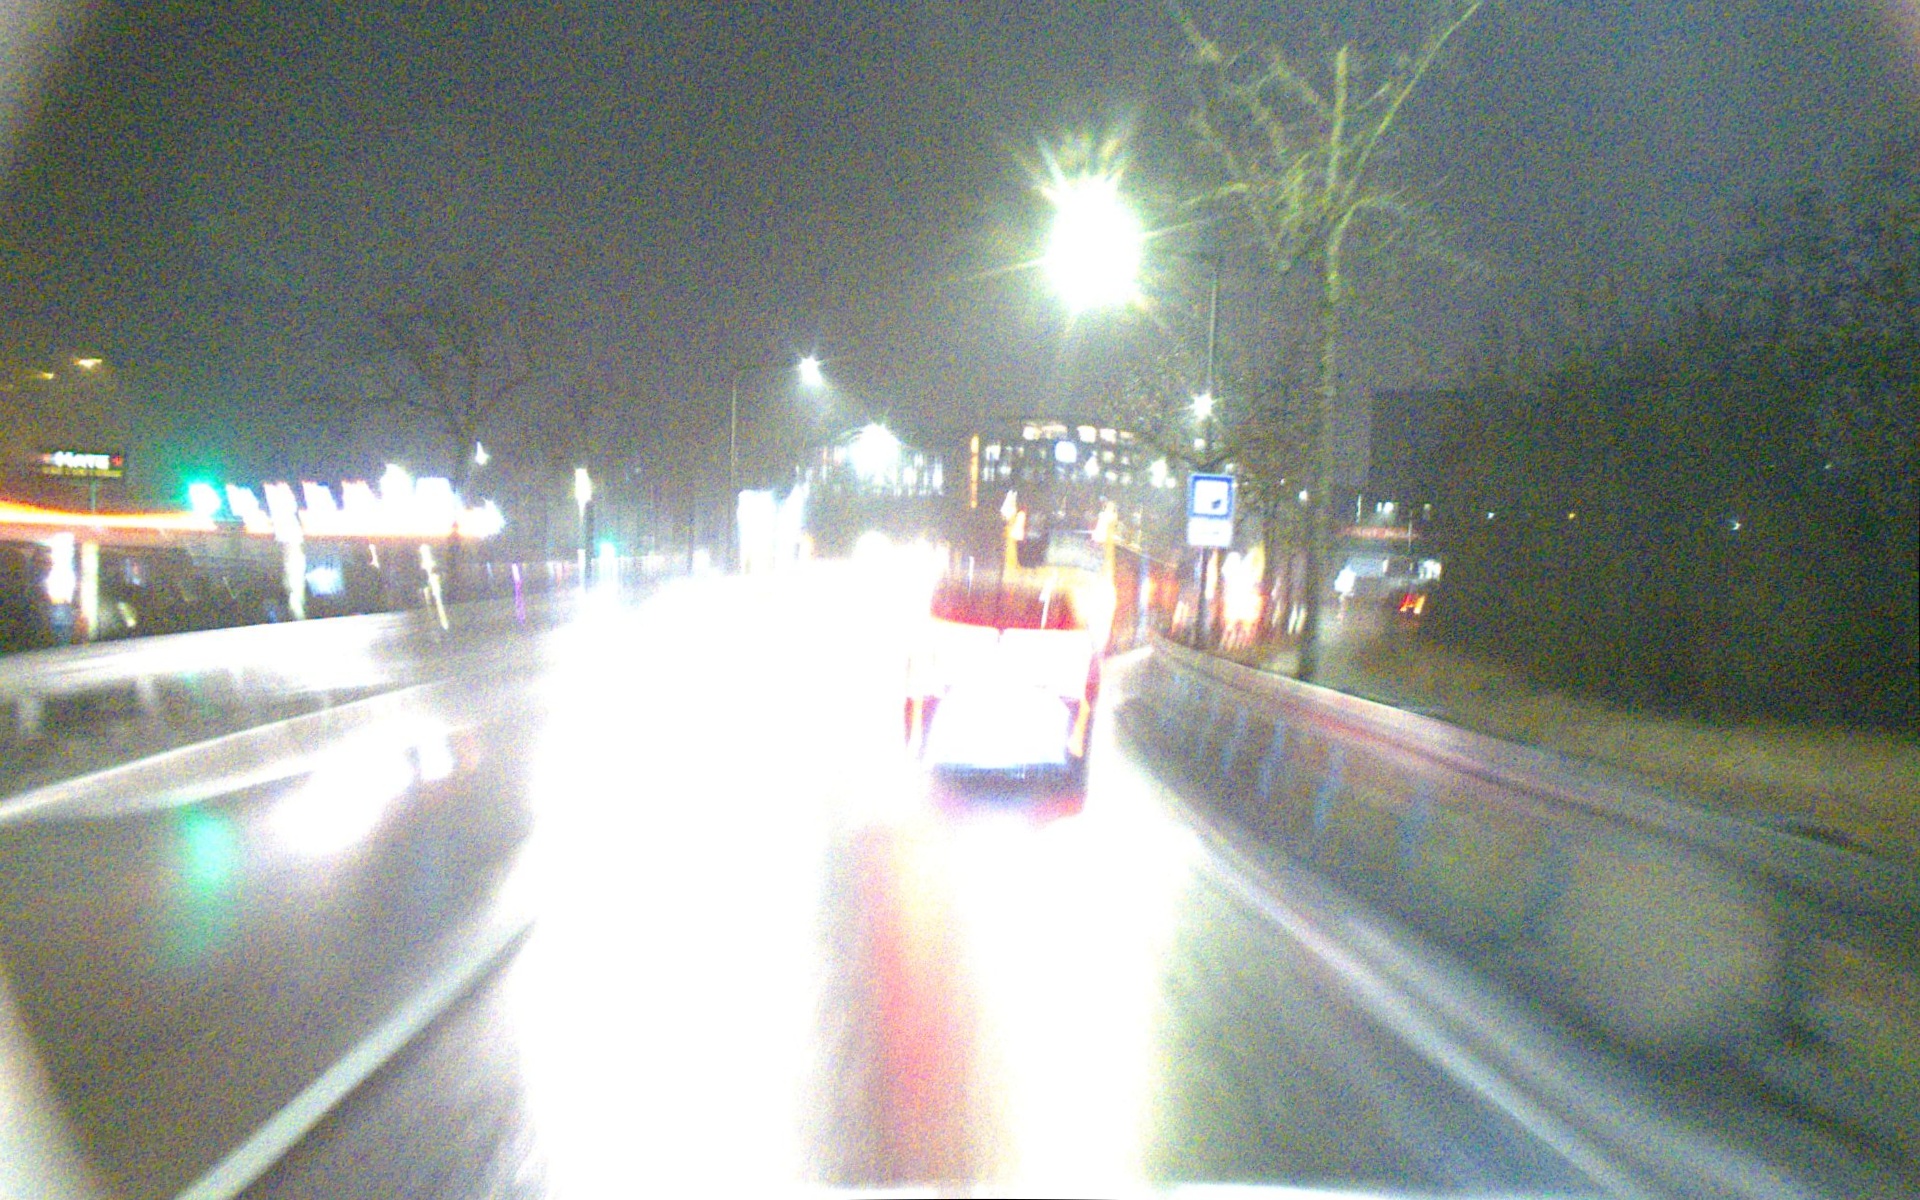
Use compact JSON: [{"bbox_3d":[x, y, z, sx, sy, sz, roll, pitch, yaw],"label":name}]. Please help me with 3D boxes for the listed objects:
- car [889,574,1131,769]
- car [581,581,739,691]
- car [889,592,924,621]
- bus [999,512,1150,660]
[{"bbox_3d":[0.439,0.557,15.520,1.952,1.551,4.001,1,1,1],"label":"car"},{"bbox_3d":[-4.395,0.472,24.780,1.787,1.427,4.034,2,1,-3],"label":"car"},{"bbox_3d":[-3.036,0.381,94.435,1.788,1.530,4.188,2,0,0],"label":"car"},{"bbox_3d":[3.058,-0.346,41.362,2.978,3.268,9.058,0,0,9],"label":"bus"}]
